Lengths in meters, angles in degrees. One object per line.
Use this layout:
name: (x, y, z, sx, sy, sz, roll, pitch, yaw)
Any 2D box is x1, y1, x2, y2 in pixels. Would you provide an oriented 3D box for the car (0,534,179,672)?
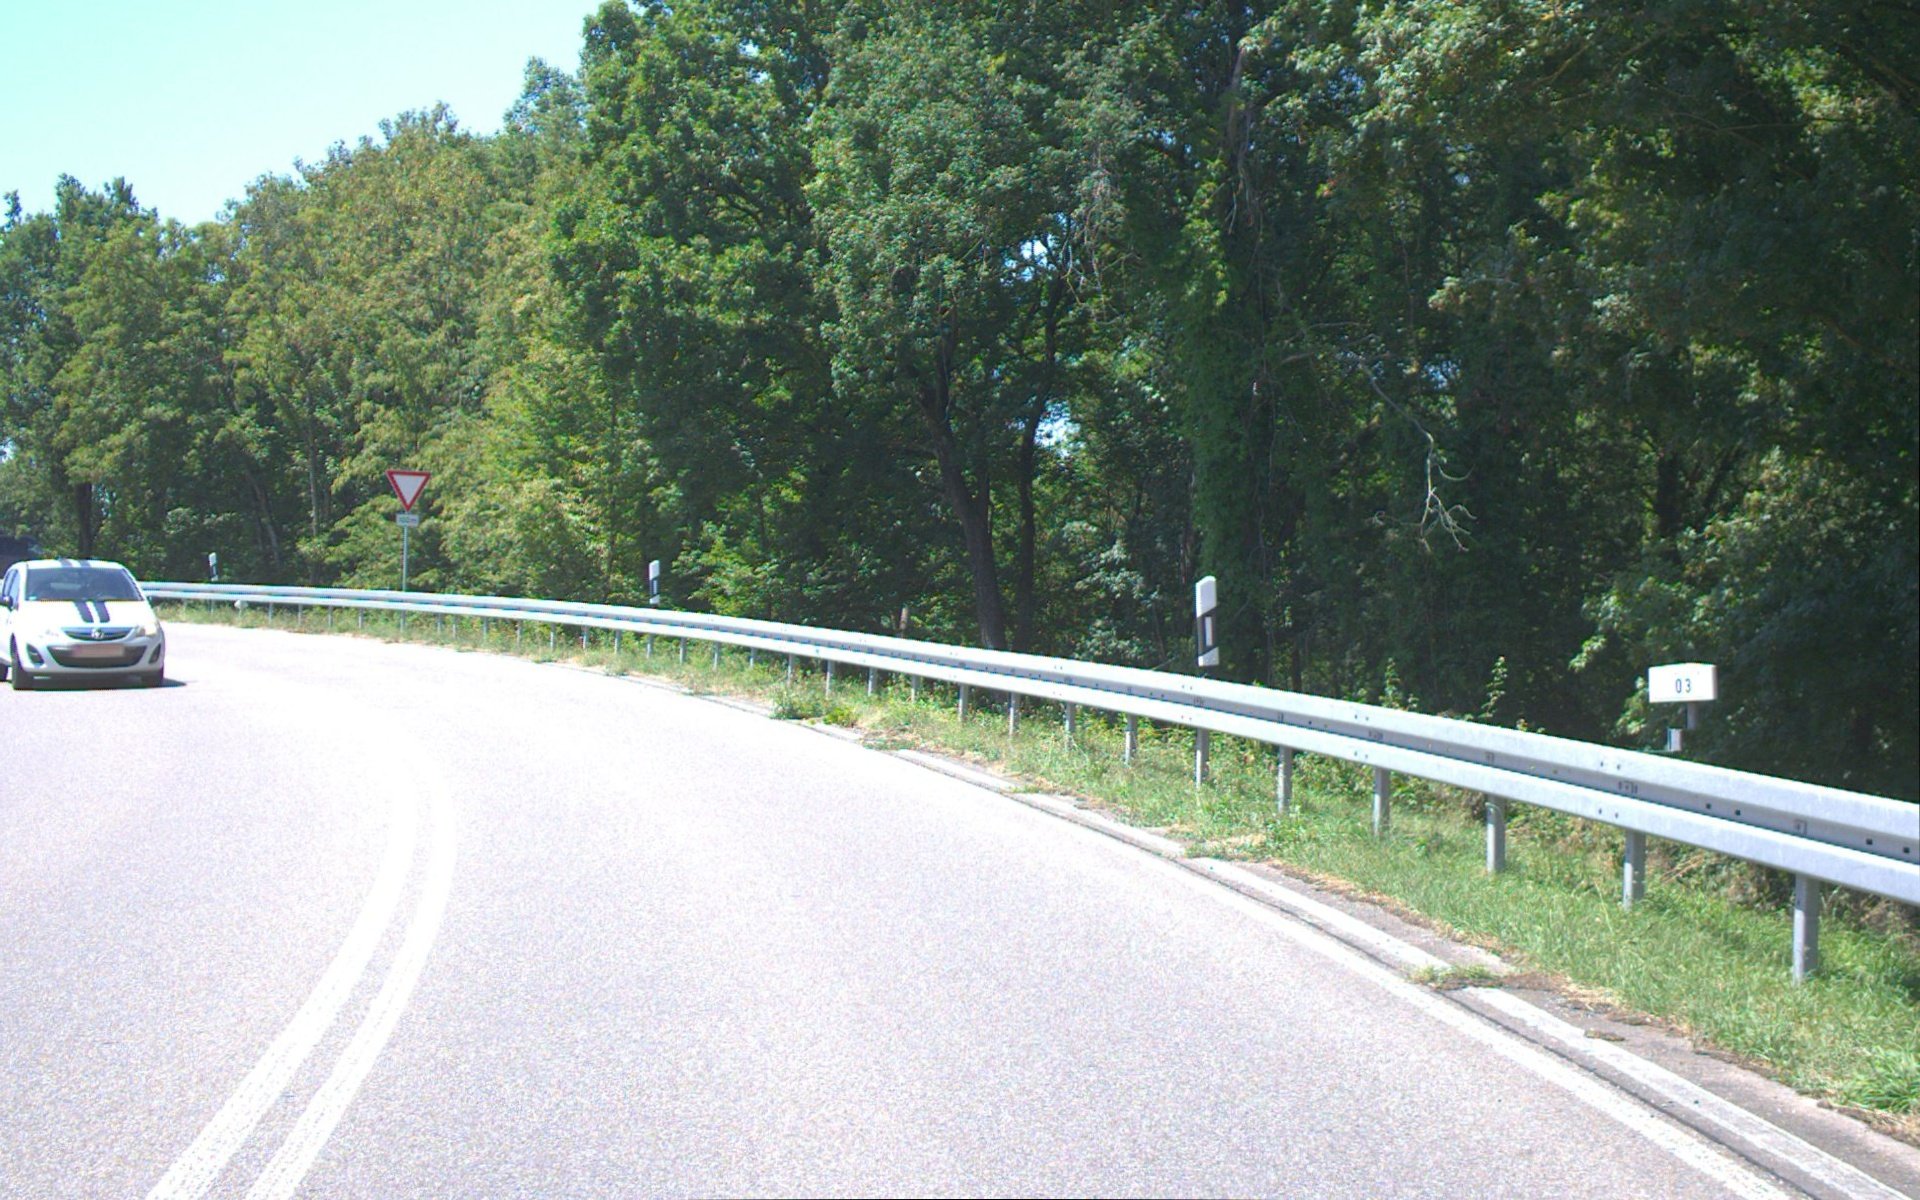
car: (-10.502, -0.004, 40.458, 1.822, 1.501, 4.173, 1, 1, -23)
